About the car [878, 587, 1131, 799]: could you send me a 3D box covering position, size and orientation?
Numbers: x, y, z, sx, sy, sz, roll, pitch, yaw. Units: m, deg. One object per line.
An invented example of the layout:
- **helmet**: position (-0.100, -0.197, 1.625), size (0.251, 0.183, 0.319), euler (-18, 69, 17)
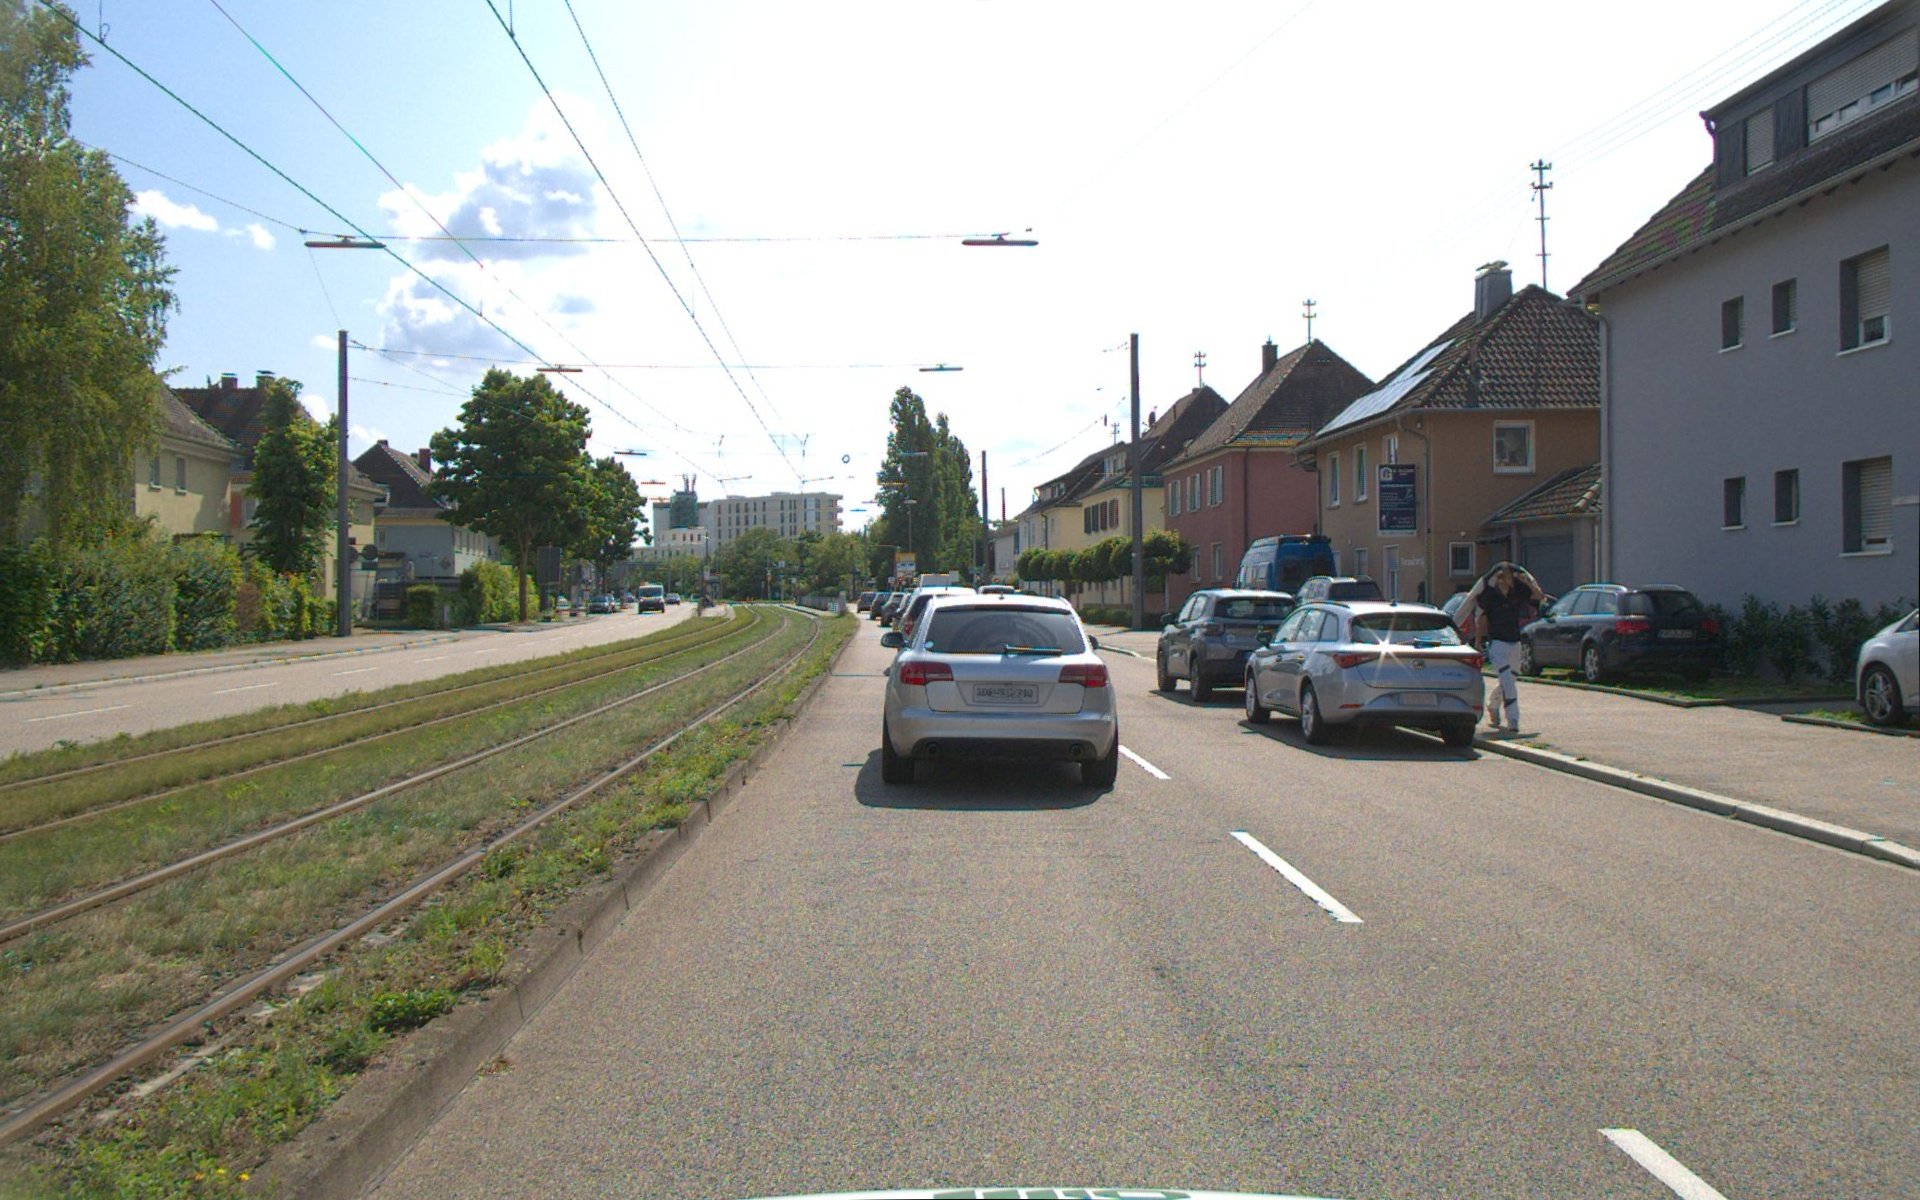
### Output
- **car**: position (0.340, 0.665, 14.217), size (1.816, 1.518, 4.536), euler (0, 0, 0)

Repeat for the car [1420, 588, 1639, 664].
- **car**: position (10.823, 0.486, 31.591), size (3.577, 1.404, 1.725), euler (0, -1, -5)

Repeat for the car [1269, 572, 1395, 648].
- **car**: position (9.303, 0.207, 41.774), size (1.800, 1.741, 4.861), euler (-2, 1, -3)

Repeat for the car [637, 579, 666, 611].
- **car**: position (-24.551, -0.363, 131.471), size (2.157, 2.413, 5.317), euler (-2, 0, -11)

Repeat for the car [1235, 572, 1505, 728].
- **car**: position (4.355, 0.496, 18.325), size (1.778, 1.479, 4.642), euler (1, 0, -1)

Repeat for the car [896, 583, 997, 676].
- **car**: position (-0.312, 0.513, 31.566), size (1.751, 1.604, 4.092), euler (2, 0, -2)

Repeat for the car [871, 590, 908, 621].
- **car**: position (-3.703, 0.314, 87.536), size (1.847, 1.557, 4.093), euler (1, 0, -2)

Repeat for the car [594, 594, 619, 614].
- **car**: position (-30.833, 0.315, 144.019), size (2.025, 1.642, 4.737), euler (-1, 0, -13)

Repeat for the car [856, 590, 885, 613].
- **car**: position (-6.295, 0.141, 116.782), size (1.847, 1.557, 4.093), euler (1, 0, -1)

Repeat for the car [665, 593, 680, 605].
- **car**: position (-37.394, -0.150, 215.090), size (1.863, 1.568, 3.718), euler (1, 0, -12)

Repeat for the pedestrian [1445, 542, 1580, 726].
- **pedestrian**: position (6.118, 0.369, 18.382), size (1.089, 1.980, 1.091), euler (0, -1, -2)

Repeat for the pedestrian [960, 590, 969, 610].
- **pedestrian**: position (0.459, -0.009, 159.762), size (0.707, 1.814, 0.702), euler (-3, 0, -6)

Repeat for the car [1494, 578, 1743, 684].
- **car**: position (10.081, 0.430, 25.764), size (1.762, 1.448, 4.855), euler (-1, 0, -2)

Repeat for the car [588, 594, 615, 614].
- **car**: position (-29.887, 0.346, 137.868), size (1.752, 1.612, 3.925), euler (0, 0, -6)

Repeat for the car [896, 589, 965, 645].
- **car**: position (-0.831, 0.441, 46.481), size (1.847, 1.491, 4.093), euler (-1, 0, -1)

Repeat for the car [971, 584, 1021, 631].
- **car**: position (1.392, 0.272, 64.325), size (1.846, 1.761, 4.095), euler (-1, 0, 1)

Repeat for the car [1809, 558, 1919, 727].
- **car**: position (10.367, 0.396, 15.807), size (1.722, 1.676, 4.764), euler (-1, 0, -5)

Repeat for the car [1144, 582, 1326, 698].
- **car**: position (4.065, 0.567, 25.117), size (1.771, 1.587, 4.250), euler (1, 0, -4)

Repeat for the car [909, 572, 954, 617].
- **car**: position (-1.726, -0.336, 97.158), size (2.003, 2.602, 5.221), euler (0, 0, -8)

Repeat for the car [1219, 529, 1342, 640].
- **car**: position (9.192, -0.398, 48.024), size (2.108, 2.981, 6.241), euler (1, 0, -2)
